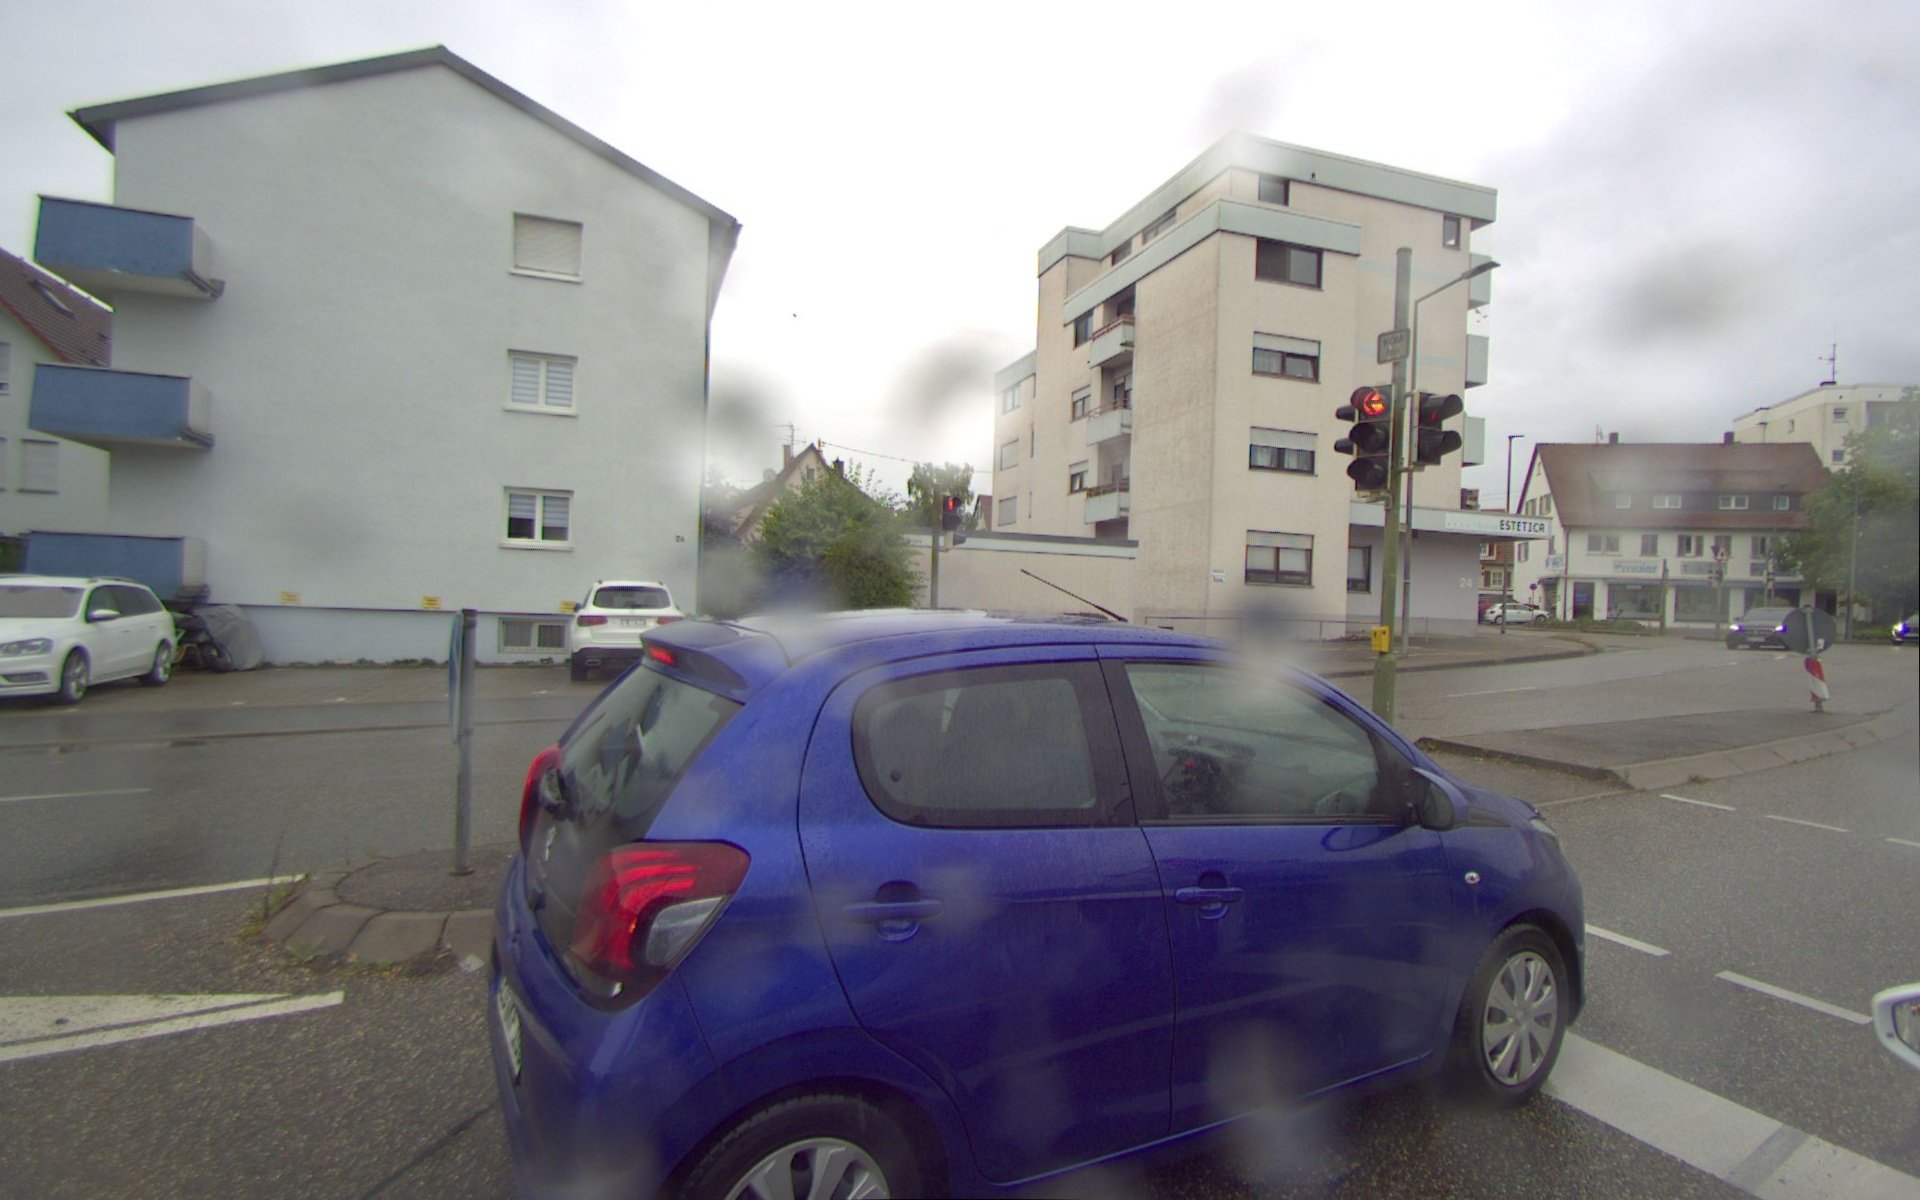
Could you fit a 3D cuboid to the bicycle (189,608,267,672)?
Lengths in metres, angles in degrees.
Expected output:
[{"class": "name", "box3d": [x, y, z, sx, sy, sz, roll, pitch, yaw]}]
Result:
[{"class": "bicycle", "box3d": [-12.691, 0.684, 17.426, 1.053, 1.067, 0.345, 0, 1, -30]}]

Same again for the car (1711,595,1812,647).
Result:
[{"class": "car", "box3d": [28.010, 0.728, 35.261, 1.964, 1.646, 4.532, 2, 0, 28]}]

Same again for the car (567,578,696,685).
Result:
[{"class": "car", "box3d": [-5.760, 0.505, 17.580, 1.884, 1.637, 3.982, 2, 0, -19]}]

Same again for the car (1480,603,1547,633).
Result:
[{"class": "car", "box3d": [37.927, 1.230, 68.898, 3.611, 1.946, 1.889, 2, 0, 14]}]

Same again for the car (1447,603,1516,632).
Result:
[{"class": "car", "box3d": [37.219, 1.234, 71.728, 3.987, 1.868, 1.889, 2, 0, 14]}]

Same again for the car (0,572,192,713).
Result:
[{"class": "car", "box3d": [-11.478, 0.452, 12.510, 1.854, 1.480, 4.732, 1, -1, -23]}]

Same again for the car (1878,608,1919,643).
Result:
[{"class": "car", "box3d": [43.896, 1.182, 45.808, 3.954, 1.532, 1.957, 2, 0, -31]}]

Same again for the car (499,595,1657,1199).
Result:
[{"class": "car", "box3d": [0.472, 0.734, 3.105, 3.324, 1.432, 1.498, 1, 1, -30]}]
